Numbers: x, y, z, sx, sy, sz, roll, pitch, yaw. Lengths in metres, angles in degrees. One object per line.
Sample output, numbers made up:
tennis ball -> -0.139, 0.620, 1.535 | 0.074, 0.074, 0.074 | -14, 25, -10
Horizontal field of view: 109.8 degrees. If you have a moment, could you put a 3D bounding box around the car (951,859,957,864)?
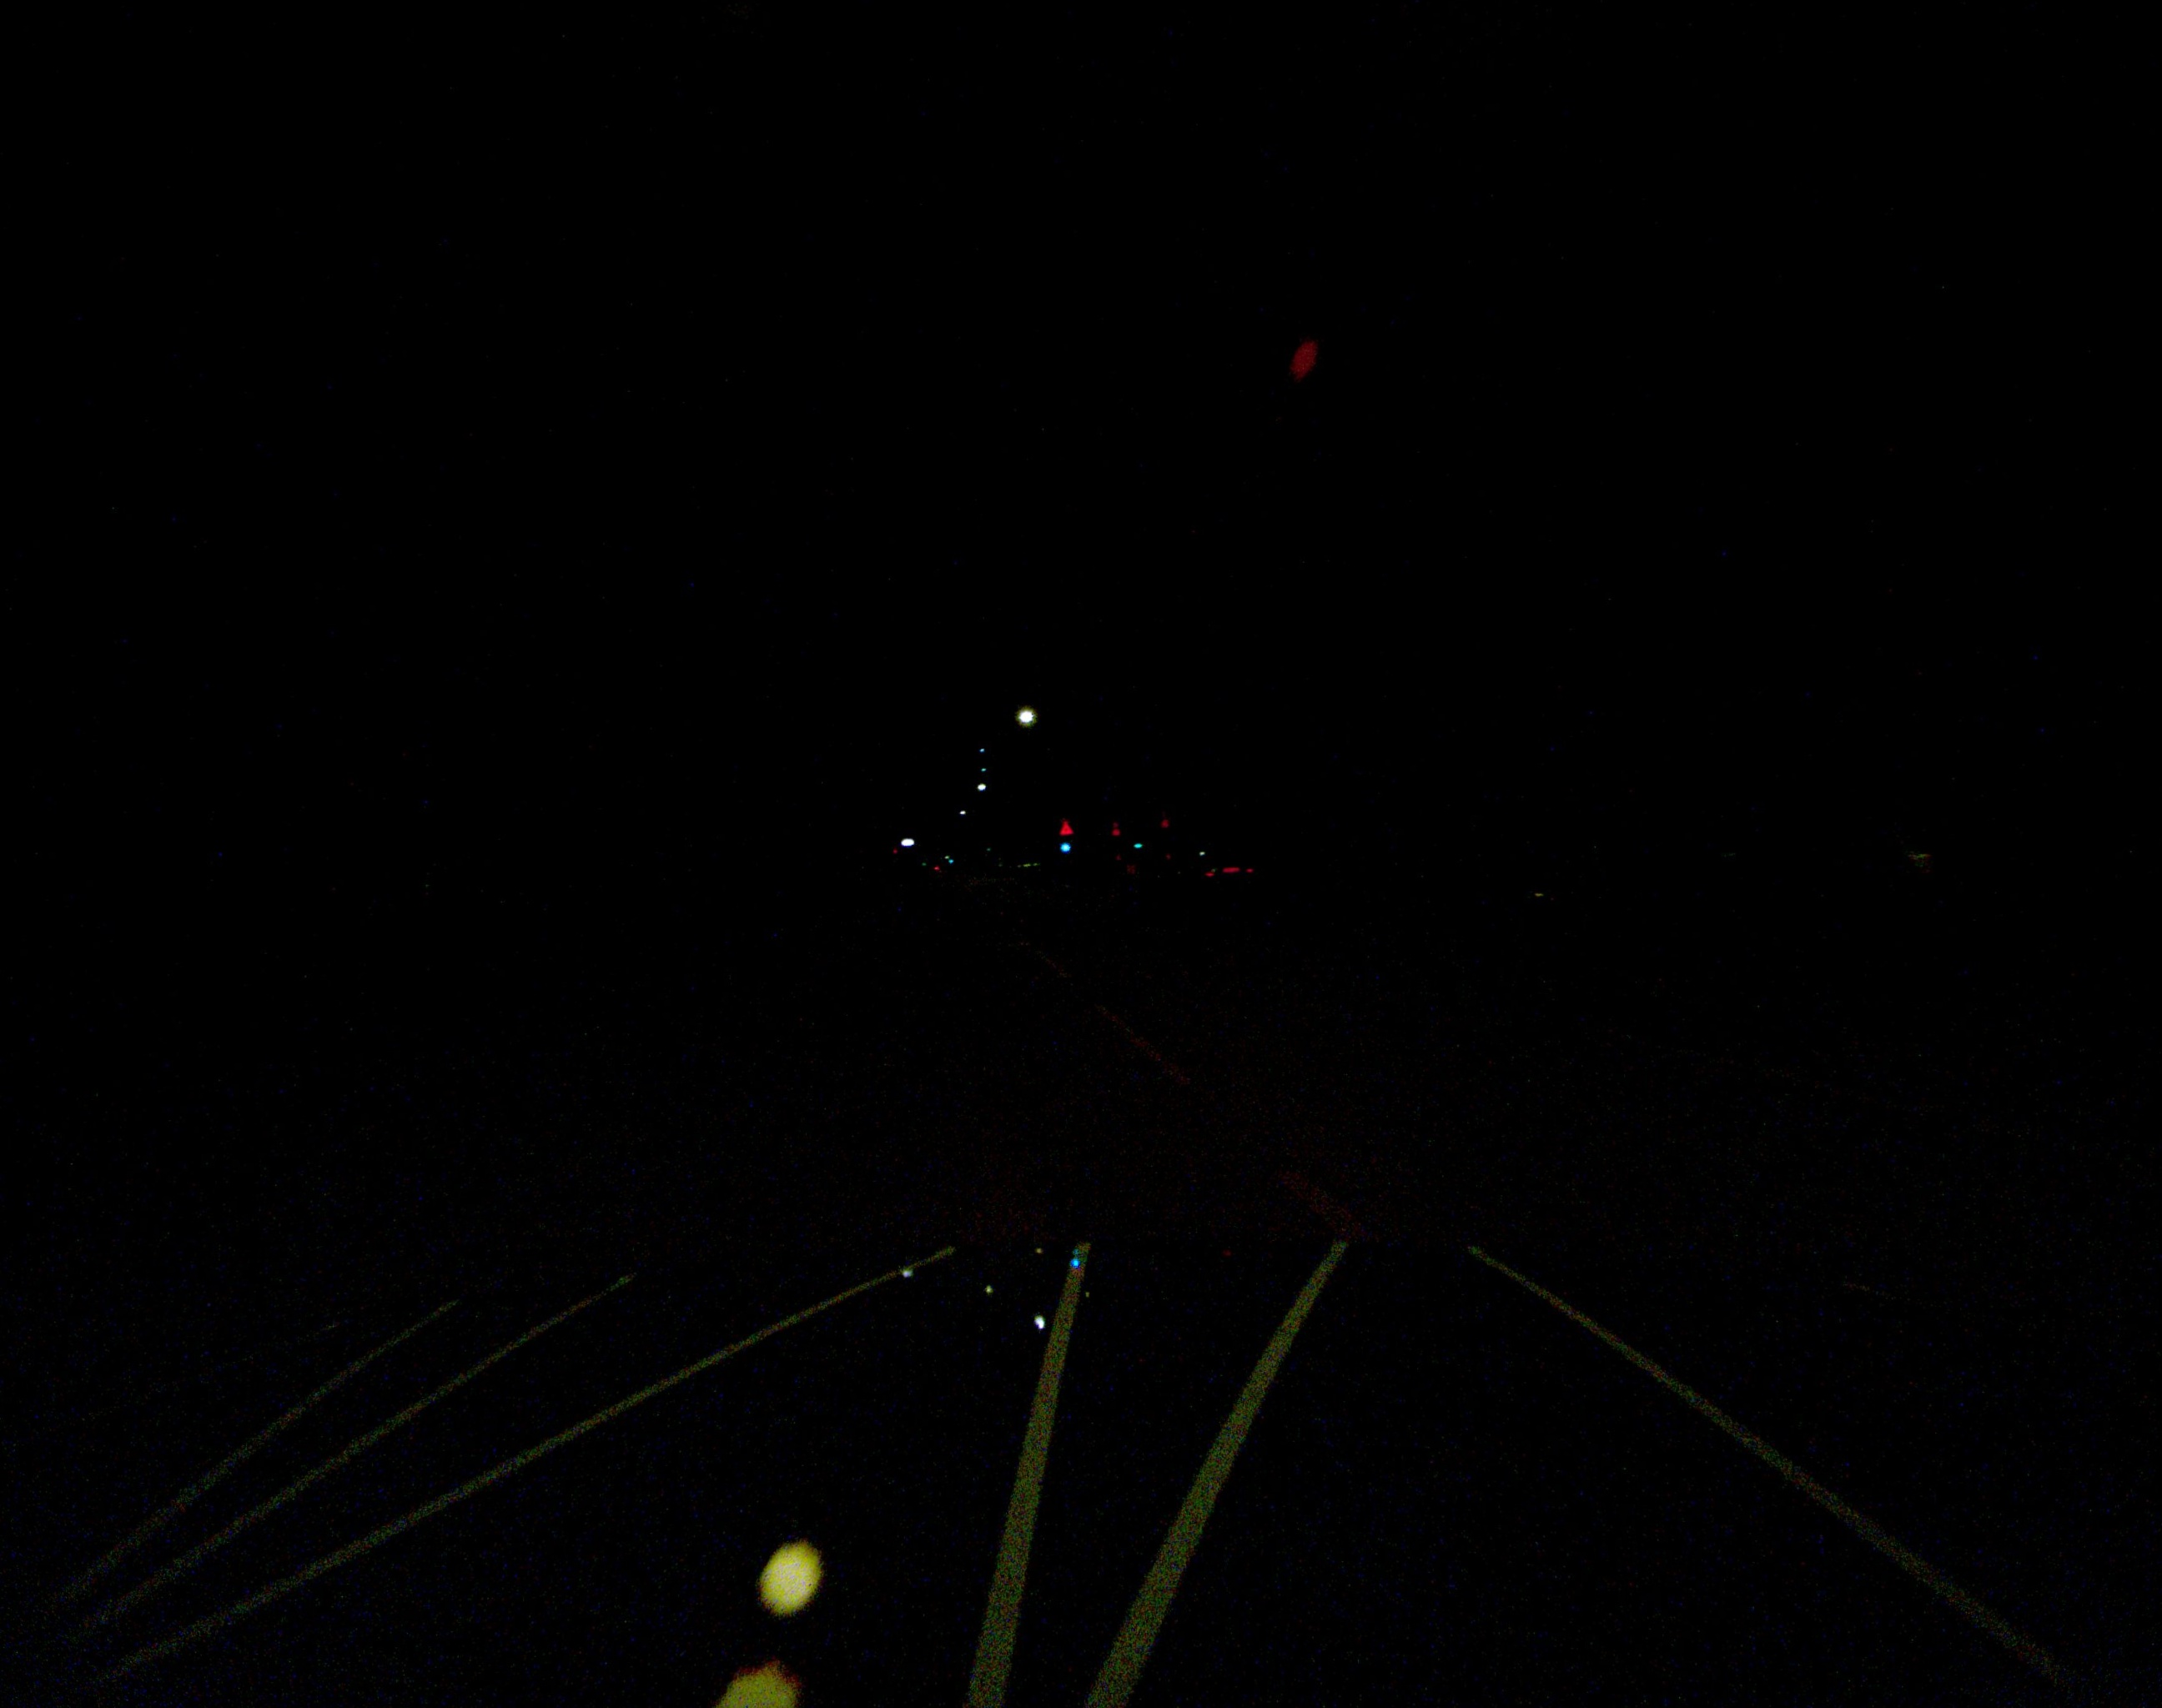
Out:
car -> -40.504, 2.370, 242.330 | 1.828, 1.424, 3.727 | -6, 1, -13

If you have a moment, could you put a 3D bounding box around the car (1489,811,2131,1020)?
car -> 6.914, 0.459, 8.144 | 1.774, 1.477, 4.762 | -3, 0, -12

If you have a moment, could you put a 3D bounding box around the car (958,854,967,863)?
car -> -33.741, 1.309, 215.675 | 2.006, 2.493, 4.949 | -6, 1, -13

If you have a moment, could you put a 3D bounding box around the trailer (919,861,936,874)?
trailer -> -18.932, 1.644, 93.889 | 1.605, 1.486, 3.731 | -5, 1, -7

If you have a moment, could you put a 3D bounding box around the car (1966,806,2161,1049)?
car -> 7.820, 0.415, 3.335 | 1.774, 1.477, 4.859 | -3, 0, -11

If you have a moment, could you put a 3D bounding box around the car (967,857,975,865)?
car -> -24.859, 1.594, 171.706 | 1.827, 1.637, 3.728 | -3, 0, -10

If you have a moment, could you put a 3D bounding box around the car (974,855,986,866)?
car -> -19.185, 1.287, 144.370 | 1.884, 1.798, 3.728 | -6, 1, -10

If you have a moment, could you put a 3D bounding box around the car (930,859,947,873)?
car -> -16.019, 1.354, 85.387 | 1.592, 1.452, 3.794 | -4, 0, -9

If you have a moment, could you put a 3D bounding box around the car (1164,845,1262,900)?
car -> 4.105, 0.548, 24.343 | 1.720, 1.485, 3.986 | -5, 0, -11
